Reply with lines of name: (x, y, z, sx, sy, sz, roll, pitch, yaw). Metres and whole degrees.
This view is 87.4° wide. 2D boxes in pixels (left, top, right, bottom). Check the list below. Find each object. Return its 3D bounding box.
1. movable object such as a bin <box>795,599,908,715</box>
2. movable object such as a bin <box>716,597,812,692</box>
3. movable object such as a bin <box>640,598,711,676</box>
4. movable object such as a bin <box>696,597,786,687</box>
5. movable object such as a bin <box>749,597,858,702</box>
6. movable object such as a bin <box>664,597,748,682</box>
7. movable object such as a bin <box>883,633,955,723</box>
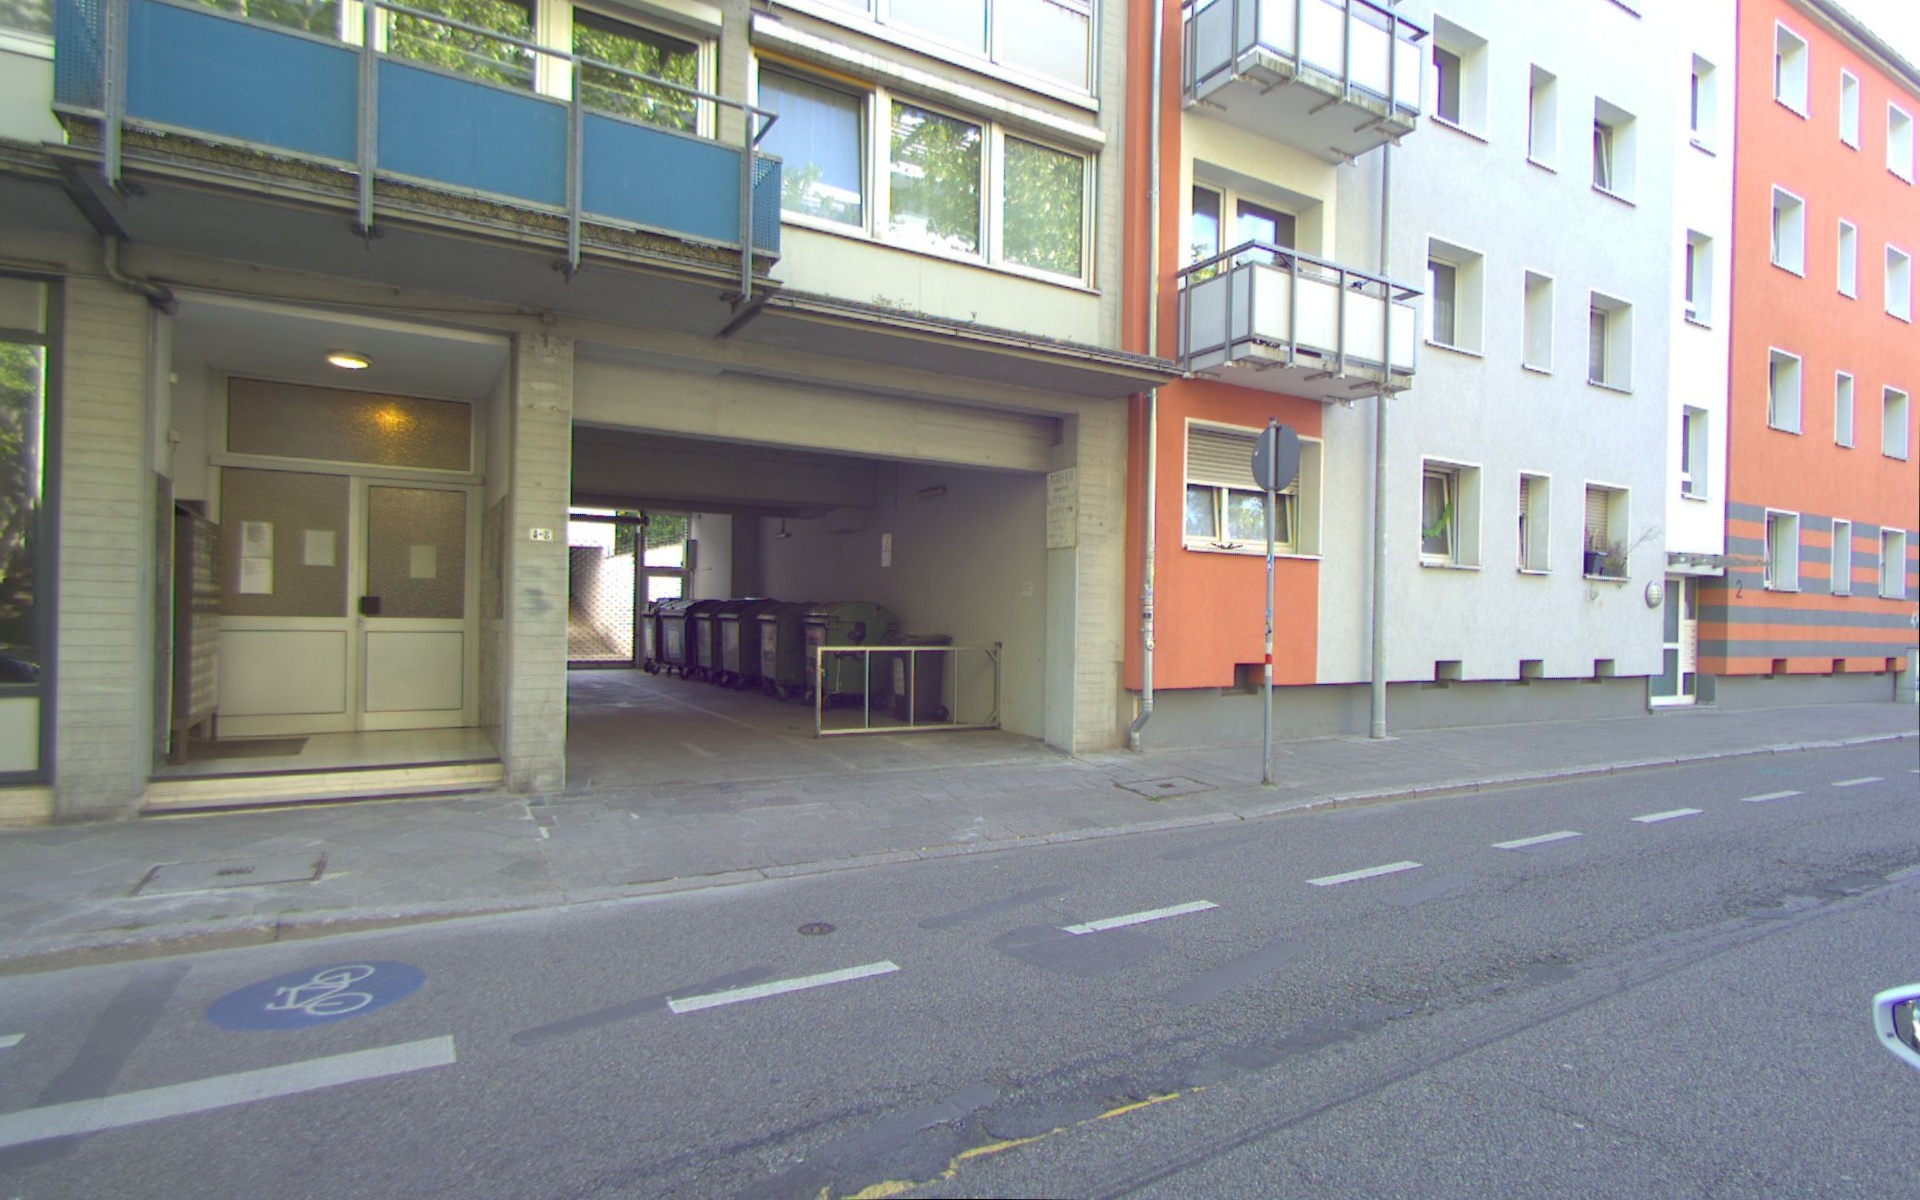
movable object such as a bin: (-1.508, 0.750, 13.818, 1.128, 1.484, 1.255, 2, 0, -28)
movable object such as a bin: (-3.270, 0.721, 16.708, 1.264, 1.506, 1.155, 2, 0, -28)
movable object such as a bin: (-5.657, 0.725, 19.955, 1.128, 1.484, 1.129, 2, 0, -28)
movable object such as a bin: (-3.873, 0.722, 17.756, 1.264, 1.515, 1.155, 2, 0, -28)
movable object such as a bin: (-2.373, 0.729, 15.172, 1.264, 1.493, 1.265, 2, -1, -28)
movable object such as a bin: (-4.738, 0.714, 18.699, 1.264, 1.506, 1.155, 2, 0, -28)
movable object such as a bin: (-0.508, 0.955, 12.466, 0.694, 1.061, 0.567, 2, 0, -28)
